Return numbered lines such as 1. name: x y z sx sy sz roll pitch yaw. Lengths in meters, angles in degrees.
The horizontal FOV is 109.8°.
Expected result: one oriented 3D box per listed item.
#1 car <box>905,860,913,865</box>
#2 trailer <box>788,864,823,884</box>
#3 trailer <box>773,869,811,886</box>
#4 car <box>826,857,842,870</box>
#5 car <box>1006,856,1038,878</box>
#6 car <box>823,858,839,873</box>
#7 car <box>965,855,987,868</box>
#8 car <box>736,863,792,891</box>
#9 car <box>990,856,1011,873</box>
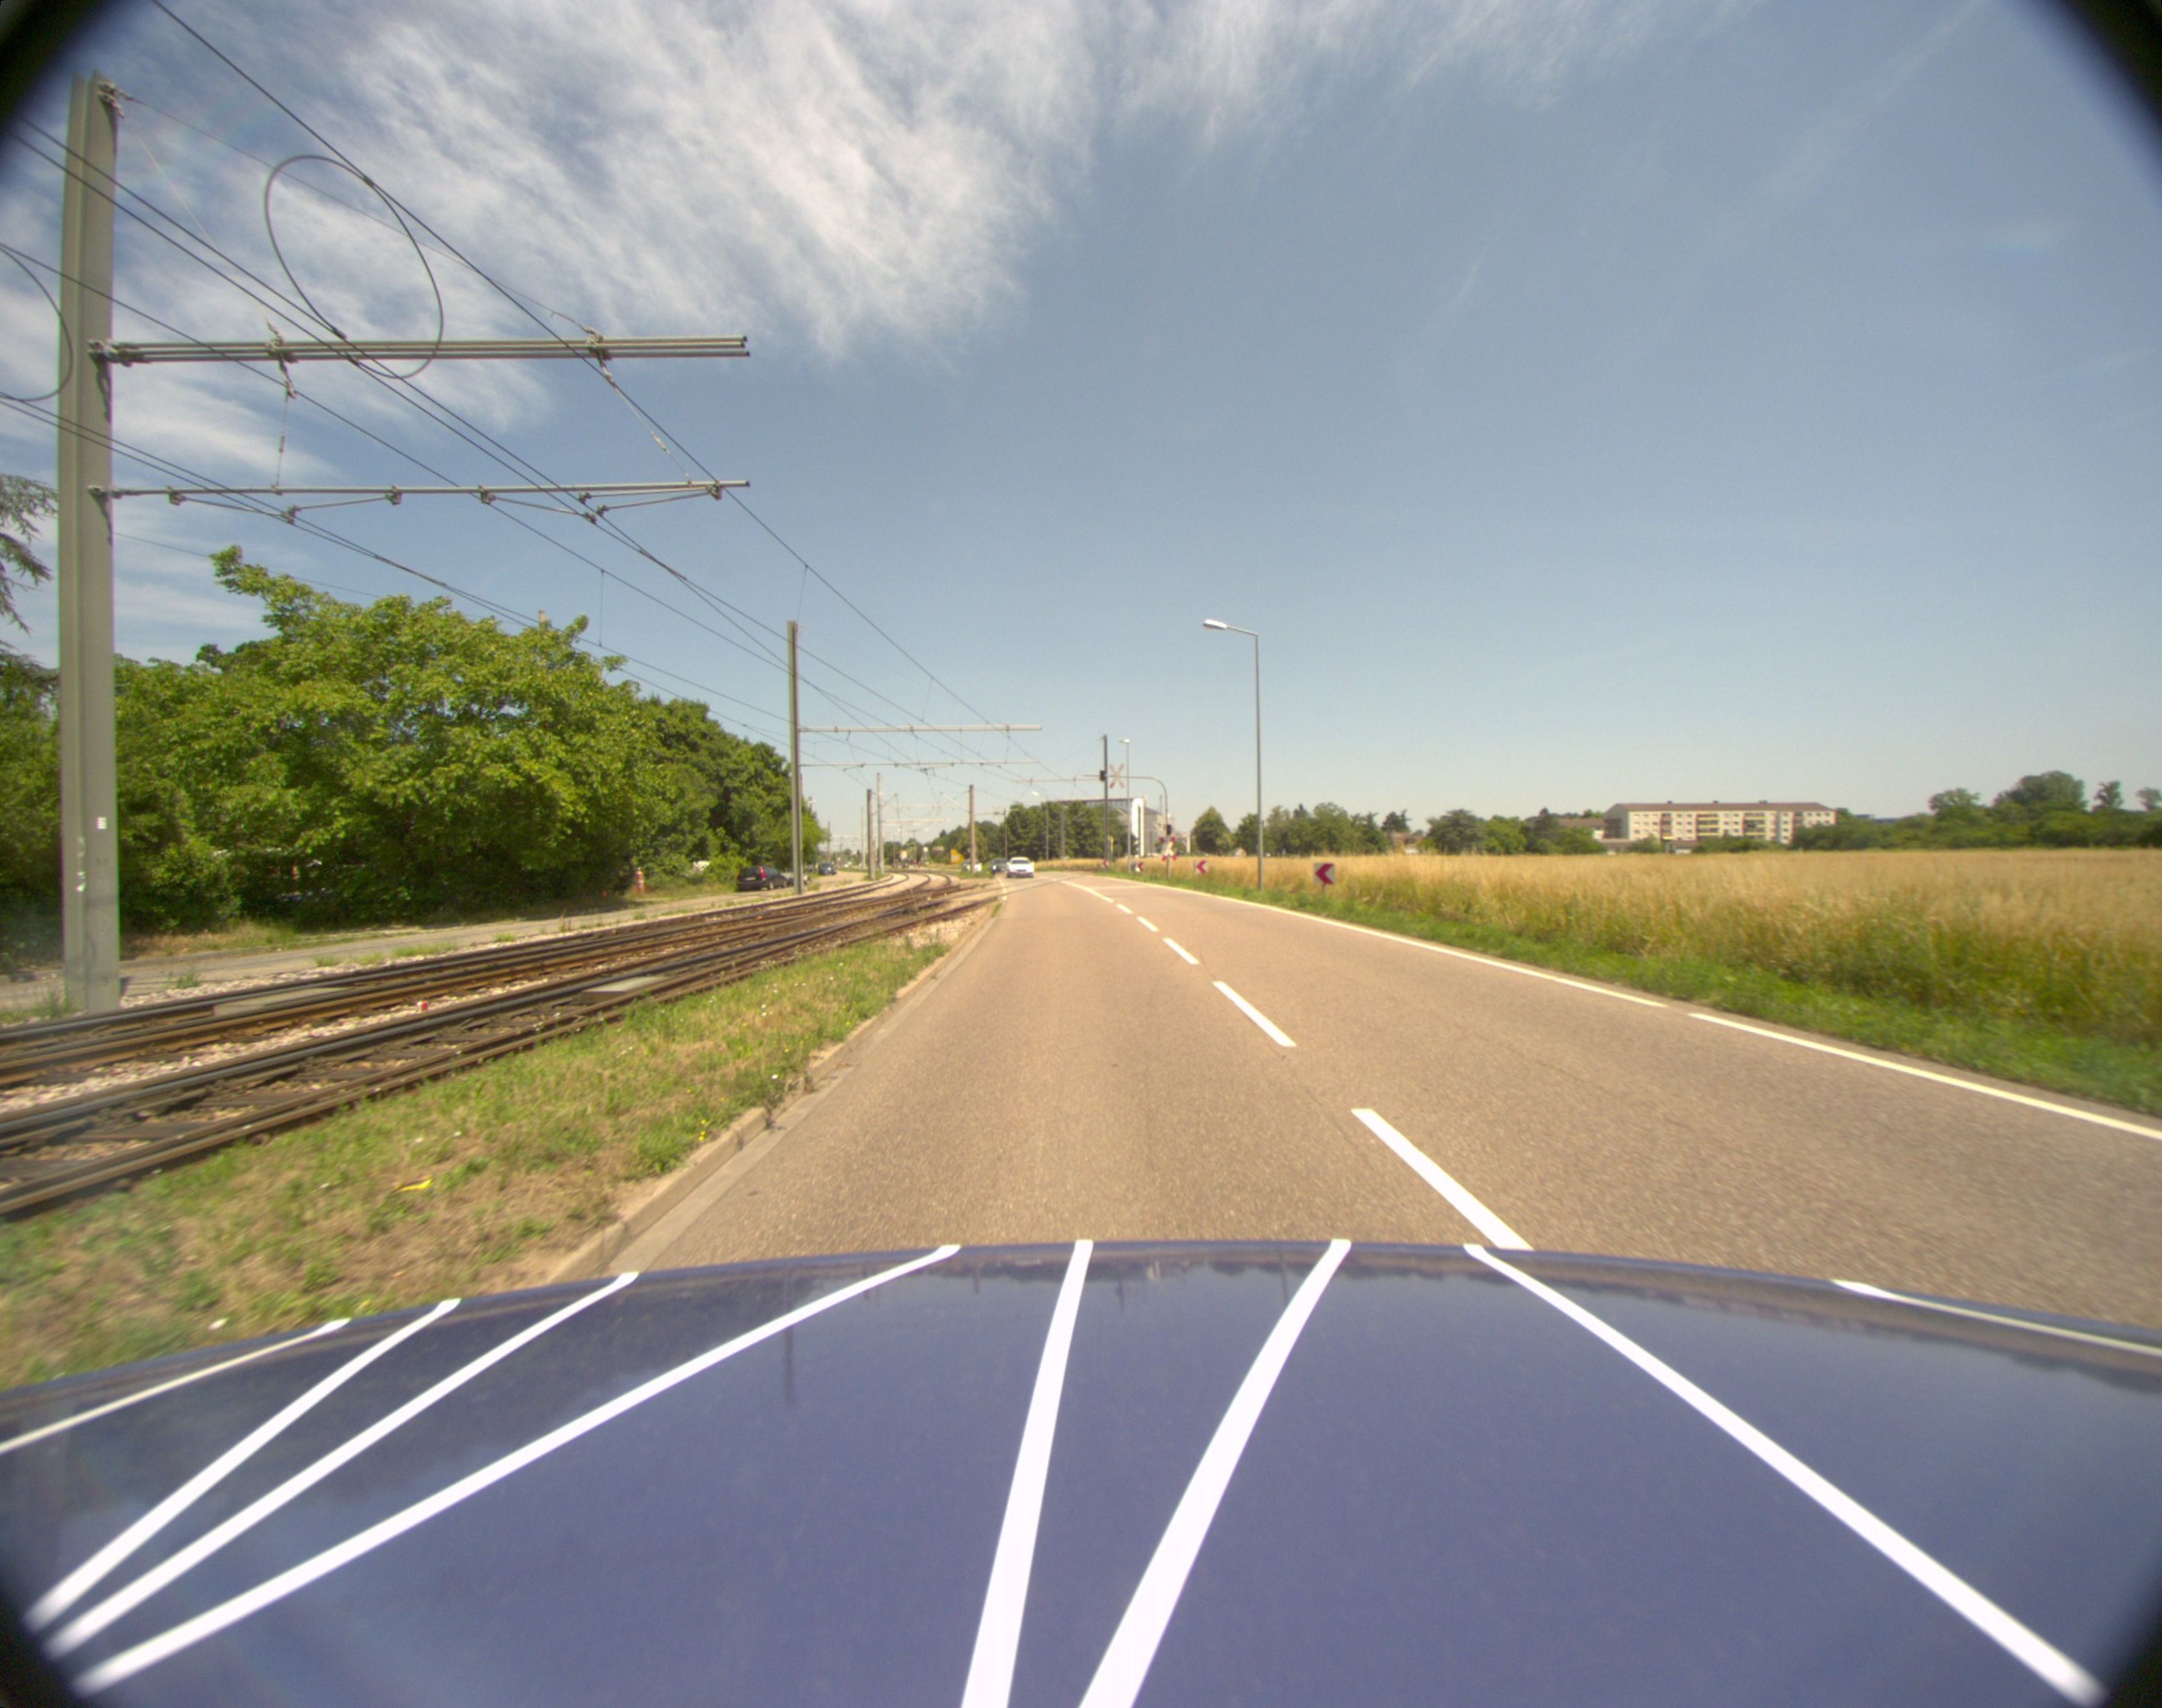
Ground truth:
1. car: -52.370 2.529 231.310 1.834 1.592 4.477 -1 0 -18
2. trailer: -20.116 1.438 55.600 1.466 1.215 3.997 -1 1 -6
3. trailer: -19.565 1.543 51.615 1.423 0.989 3.998 -4 0 -6
4. car: -33.145 1.253 101.812 1.683 1.615 4.702 -1 1 -21
5. car: -4.318 0.880 55.255 1.773 1.434 4.124 -1 1 -12
6. car: -31.507 1.426 95.631 1.835 1.647 4.807 -1 1 -18
7. car: -12.871 0.906 93.283 1.812 1.465 3.505 -1 1 -22
8. car: -18.844 1.312 45.428 1.802 1.418 4.736 -1 1 -6
9. car: -7.329 0.973 69.113 1.511 1.423 3.354 -1 1 -11
